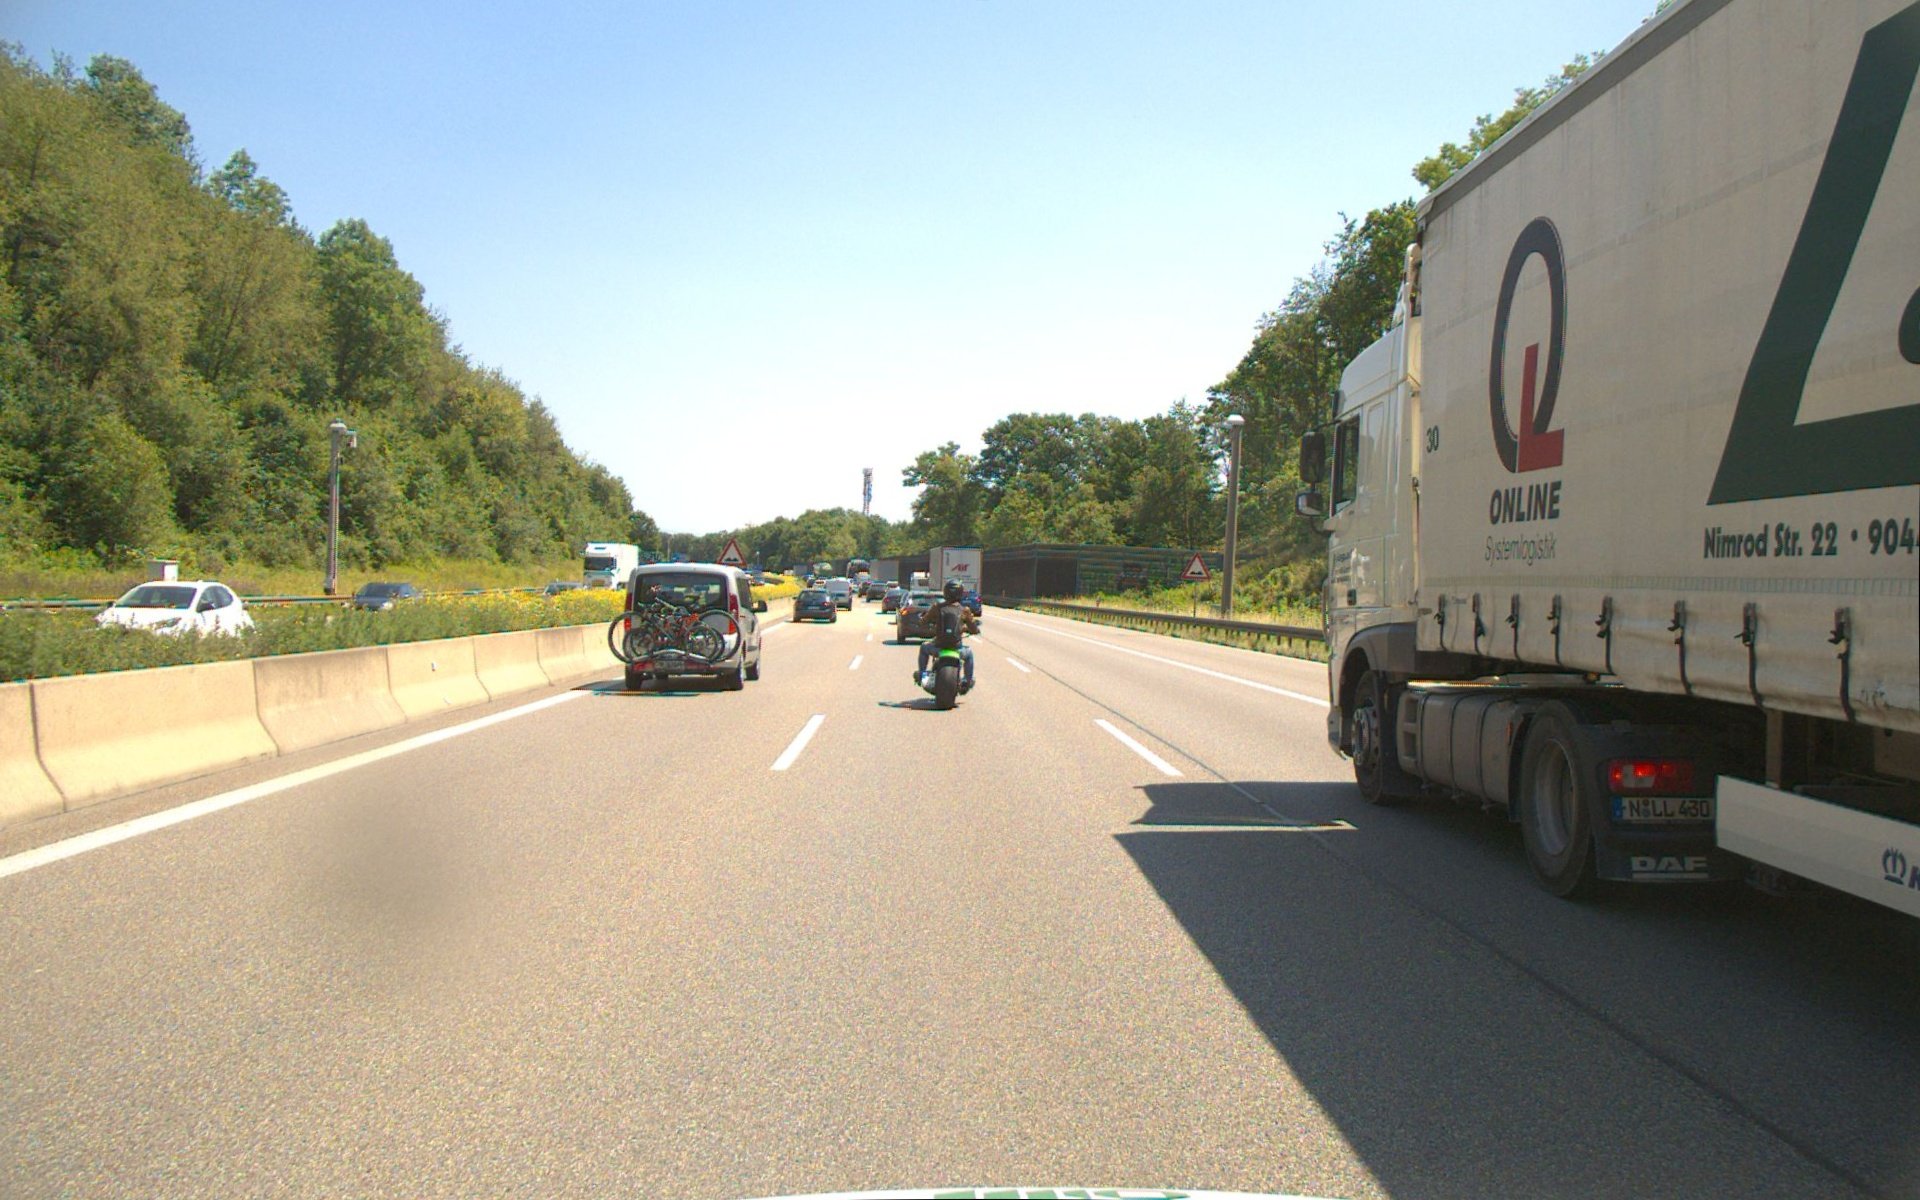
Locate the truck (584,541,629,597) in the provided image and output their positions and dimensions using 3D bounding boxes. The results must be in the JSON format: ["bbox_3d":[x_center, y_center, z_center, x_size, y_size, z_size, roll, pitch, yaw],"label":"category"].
[{"bbox_3d":[-27.128,-2.345,127.134,2.637,4.161,5.198,1,0,-5],"label":"truck"}]

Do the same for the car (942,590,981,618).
[{"bbox_3d":[0.063,0.241,92.709,1.619,1.508,4.475,1,0,-7],"label":"car"}]

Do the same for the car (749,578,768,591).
[{"bbox_3d":[-25.300,-1.966,207.849,1.954,1.512,3.998,1,0,-3],"label":"car"}]

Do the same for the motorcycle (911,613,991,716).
[{"bbox_3d":[-0.127,0.803,21.588,0.945,1.168,2.811,2,1,-1],"label":"motorcycle"}]

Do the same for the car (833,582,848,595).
[{"bbox_3d":[-14.735,-1.351,203.459,1.797,1.522,3.739,1,0,-6],"label":"car"}]

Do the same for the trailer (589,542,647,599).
[{"bbox_3d":[-27.634,-2.300,134.285,2.661,4.281,13.920,1,0,-4],"label":"trailer"}]

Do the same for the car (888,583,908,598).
[{"bbox_3d":[-7.183,-1.078,191.715,1.955,1.601,3.994,1,0,-7],"label":"car"}]

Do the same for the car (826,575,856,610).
[{"bbox_3d":[-7.302,-0.448,101.741,1.756,2.049,3.639,1,0,-4],"label":"car"}]

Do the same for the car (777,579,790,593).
[{"bbox_3d":[-24.890,-2.003,233.618,1.746,1.854,3.902,1,0,-5],"label":"car"}]

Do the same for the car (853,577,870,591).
[{"bbox_3d":[-13.950,-2.264,234.291,2.068,1.909,3.993,1,0,-8],"label":"car"}]

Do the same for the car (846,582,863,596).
[{"bbox_3d":[-11.948,-1.231,187.281,1.797,1.522,3.739,1,0,-6],"label":"car"}]

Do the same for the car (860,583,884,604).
[{"bbox_3d":[-7.478,-0.536,139.918,1.954,1.668,3.997,1,0,-4],"label":"car"}]

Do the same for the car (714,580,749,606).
[{"bbox_3d":[-16.037,-0.499,116.203,1.953,1.707,4.079,1,0,-2],"label":"car"}]

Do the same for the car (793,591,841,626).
[{"bbox_3d":[-6.115,0.356,70.791,1.954,1.411,3.996,1,0,-5],"label":"car"}]

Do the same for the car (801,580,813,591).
[{"bbox_3d":[-23.577,-2.185,254.819,1.803,1.658,3.996,1,0,-4],"label":"car"}]

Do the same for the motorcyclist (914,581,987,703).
[{"bbox_3d":[-0.124,0.532,21.559,0.881,1.500,1.872,1,0,0],"label":"motorcyclist"}]

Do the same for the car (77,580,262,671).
[{"bbox_3d":[-14.416,0.435,30.398,1.637,1.534,3.827,1,0,-2],"label":"car"}]

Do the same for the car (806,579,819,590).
[{"bbox_3d":[-20.673,-2.156,232.185,1.797,1.522,3.739,1,0,-6],"label":"car"}]

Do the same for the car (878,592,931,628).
[{"bbox_3d":[-2.422,0.428,71.151,1.956,1.455,3.841,1,0,-7],"label":"car"}]

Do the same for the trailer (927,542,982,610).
[{"bbox_3d":[-0.458,-1.558,107.861,2.828,4.109,13.787,1,1,-3],"label":"trailer"}]

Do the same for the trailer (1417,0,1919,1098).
[{"bbox_3d":[4.425,-0.523,4.067,2.729,4.278,13.243,1,1,-1],"label":"trailer"}]

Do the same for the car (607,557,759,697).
[{"bbox_3d":[-4.107,0.392,25.119,1.862,1.906,4.408,1,0,-5],"label":"car"}]

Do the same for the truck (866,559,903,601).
[{"bbox_3d":[-9.327,-2.404,203.566,3.732,5.046,8.934,1,0,-8],"label":"truck"}]

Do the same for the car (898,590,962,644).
[{"bbox_3d":[-0.897,0.475,47.475,1.629,1.478,3.866,1,0,-4],"label":"car"}]

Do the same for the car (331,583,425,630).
[{"bbox_3d":[-19.892,0.185,56.667,1.954,1.534,3.998,0,1,-3],"label":"car"}]

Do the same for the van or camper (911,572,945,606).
[{"bbox_3d":[-2.949,-0.942,148.441,2.632,2.862,6.796,1,0,-4],"label":"van or camper"}]

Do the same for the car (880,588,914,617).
[{"bbox_3d":[-3.610,0.159,94.116,1.745,1.579,3.581,1,0,-5],"label":"car"}]

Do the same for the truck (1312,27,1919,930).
[{"bbox_3d":[4.349,-0.619,10.858,2.729,4.278,5.870,1,1,0],"label":"truck"}]

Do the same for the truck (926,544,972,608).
[{"bbox_3d":[-0.820,-1.652,114.676,2.828,4.218,5.982,1,1,-3],"label":"truck"}]

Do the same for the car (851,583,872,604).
[{"bbox_3d":[-9.972,-0.617,167.600,1.874,2.049,3.686,1,0,-6],"label":"car"}]

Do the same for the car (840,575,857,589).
[{"bbox_3d":[-16.168,-2.573,239.614,2.068,1.909,3.993,1,0,-8],"label":"car"}]
